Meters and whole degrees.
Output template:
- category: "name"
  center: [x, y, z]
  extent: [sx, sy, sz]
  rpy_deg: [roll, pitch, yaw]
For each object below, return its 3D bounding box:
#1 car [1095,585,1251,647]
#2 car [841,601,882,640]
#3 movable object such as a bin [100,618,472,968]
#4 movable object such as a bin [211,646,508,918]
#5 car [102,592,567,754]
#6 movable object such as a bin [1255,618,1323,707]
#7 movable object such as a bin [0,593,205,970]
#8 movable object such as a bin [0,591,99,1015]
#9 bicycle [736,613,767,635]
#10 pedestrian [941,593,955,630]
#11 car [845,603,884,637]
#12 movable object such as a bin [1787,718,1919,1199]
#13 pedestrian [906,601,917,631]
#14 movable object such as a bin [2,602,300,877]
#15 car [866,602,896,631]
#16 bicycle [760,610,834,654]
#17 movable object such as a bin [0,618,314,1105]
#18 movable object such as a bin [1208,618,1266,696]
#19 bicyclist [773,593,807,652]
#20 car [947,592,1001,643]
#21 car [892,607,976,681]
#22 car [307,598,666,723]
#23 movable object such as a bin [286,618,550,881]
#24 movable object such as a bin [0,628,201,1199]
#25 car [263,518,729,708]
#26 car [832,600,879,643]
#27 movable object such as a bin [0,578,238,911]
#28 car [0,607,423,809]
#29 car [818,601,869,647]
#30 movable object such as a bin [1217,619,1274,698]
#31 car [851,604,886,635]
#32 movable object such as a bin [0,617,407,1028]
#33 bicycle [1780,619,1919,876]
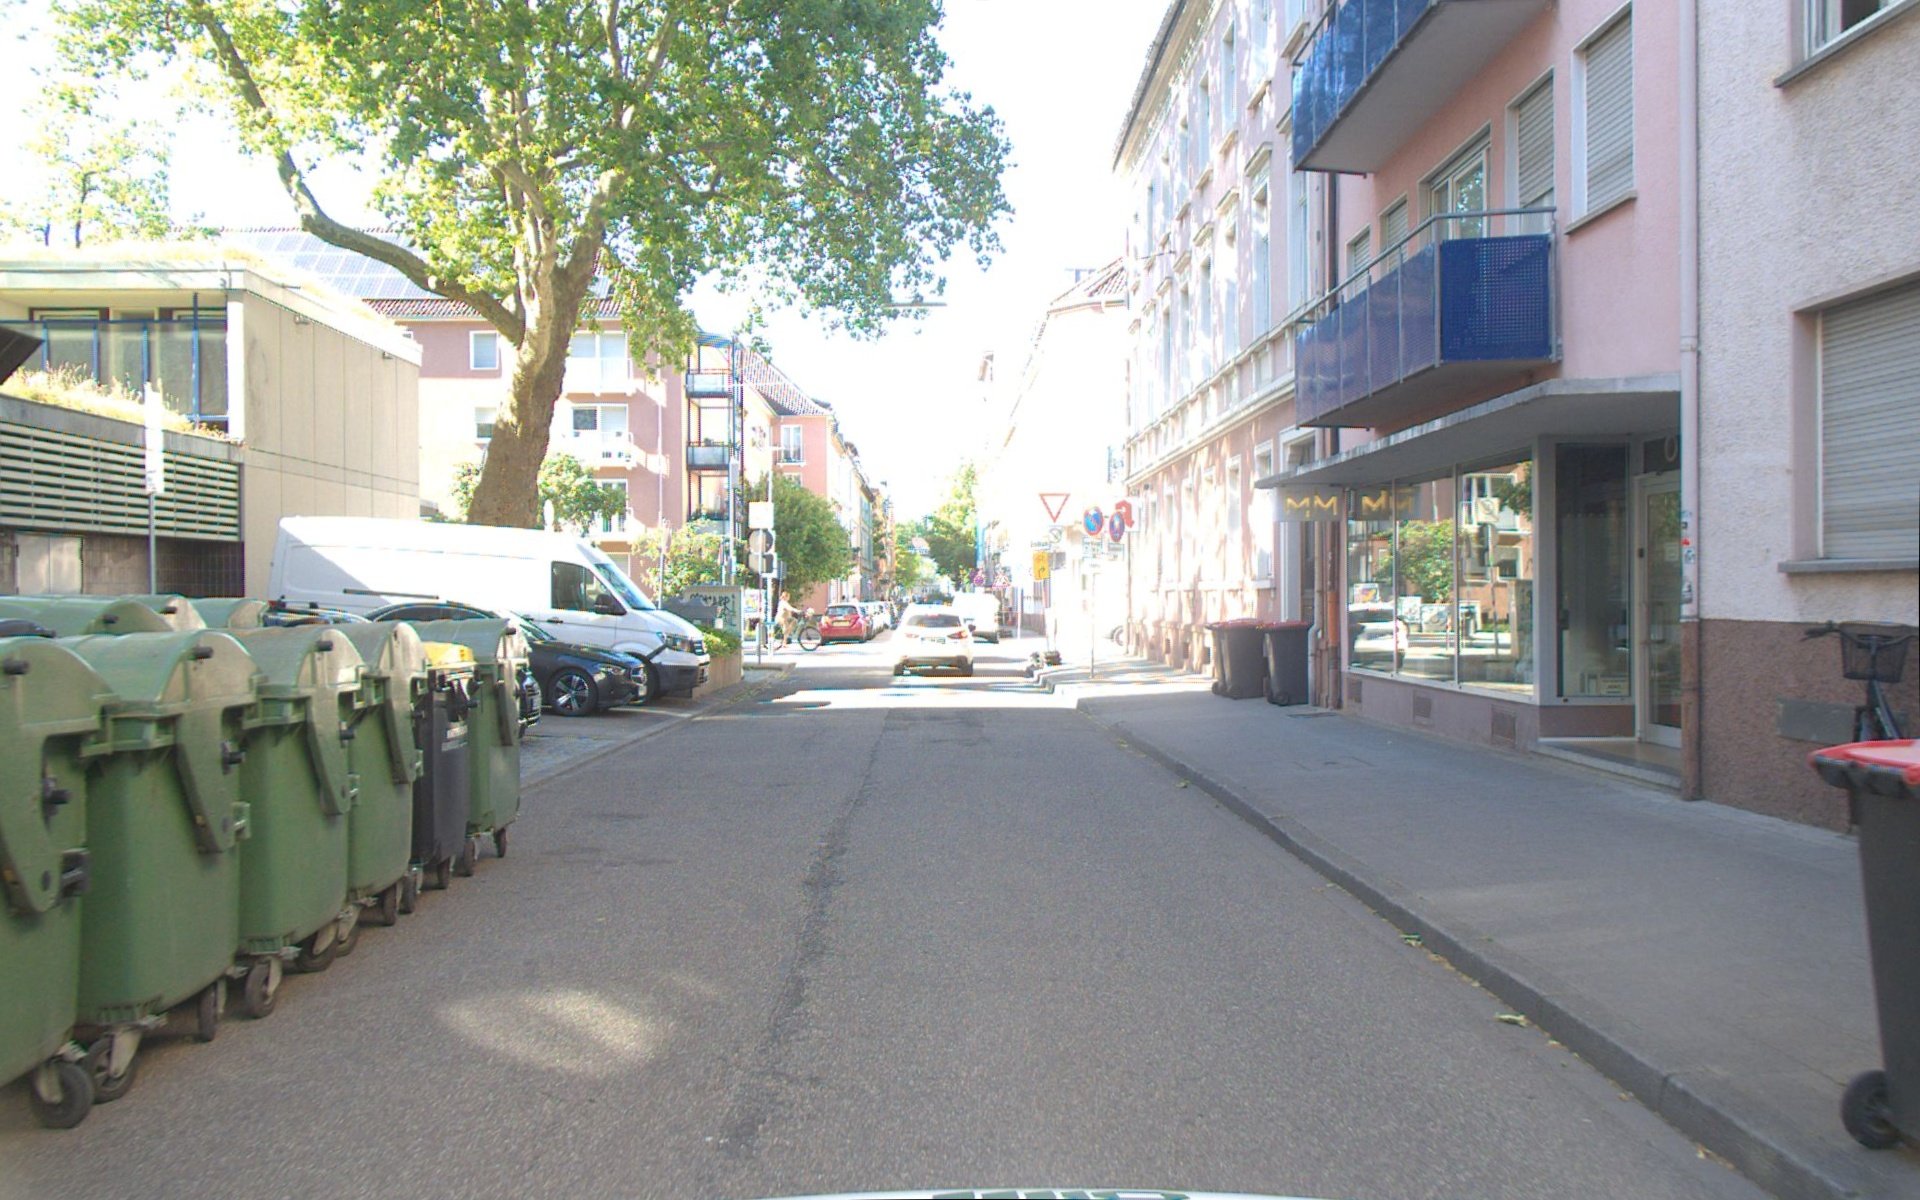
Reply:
- category: "car"
  center: [7.069, 0.563, 54.957]
  extent: [4.791, 1.962, 1.999]
  rpy_deg: [-1, -2, 24]
- category: "car"
  center: [-4.398, 0.915, 73.942]
  extent: [1.602, 1.685, 3.784]
  rpy_deg: [-1, -1, 0]
- category: "movable object such as a bin"
  center: [-3.101, 0.847, 7.763]
  extent: [1.307, 1.517, 1.081]
  rpy_deg: [0, -1, -1]
- category: "movable object such as a bin"
  center: [-3.164, 0.928, 8.852]
  extent: [1.216, 1.345, 1.045]
  rpy_deg: [0, -1, -1]
- category: "car"
  center: [-6.753, 0.784, 18.275]
  extent: [4.377, 1.638, 1.915]
  rpy_deg: [1, -1, -4]
- category: "movable object such as a bin"
  center: [4.308, 0.810, 21.685]
  extent: [0.715, 1.123, 0.692]
  rpy_deg: [-1, -1, -3]
- category: "movable object such as a bin"
  center: [-4.405, 0.796, 7.722]
  extent: [1.262, 1.632, 1.081]
  rpy_deg: [0, -1, -1]
- category: "movable object such as a bin"
  center: [-4.370, 0.795, 6.657]
  extent: [1.268, 1.649, 1.018]
  rpy_deg: [0, -1, -1]
- category: "bicycle"
  center: [-9.318, 1.076, 74.015]
  extent: [0.598, 0.948, 1.892]
  rpy_deg: [0, -1, -34]
- category: "pedestrian"
  center: [-0.703, 0.672, 96.114]
  extent: [0.755, 2.155, 0.834]
  rpy_deg: [-1, -1, 0]
- category: "car"
  center: [-4.628, 0.963, 80.723]
  extent: [1.685, 1.604, 3.725]
  rpy_deg: [-1, -1, 0]
- category: "movable object such as a bin"
  center: [2.625, 0.868, 4.129]
  extent: [0.752, 1.105, 0.693]
  rpy_deg: [-1, -1, 0]
- category: "pedestrian"
  center: [-3.014, 0.973, 102.001]
  extent: [0.634, 1.828, 0.639]
  rpy_deg: [-1, -1, 0]
- category: "movable object such as a bin"
  center: [-4.900, 0.807, 10.138]
  extent: [1.327, 1.577, 1.119]
  rpy_deg: [0, -1, -7]
- category: "car"
  center: [-4.537, 0.955, 95.048]
  extent: [1.540, 1.613, 3.610]
  rpy_deg: [-1, -1, 0]
- category: "bicycle"
  center: [-4.932, 0.954, 50.083]
  extent: [2.119, 1.277, 0.833]
  rpy_deg: [-1, -1, 0]
- category: "movable object such as a bin"
  center: [-3.066, 0.823, 5.660]
  extent: [1.321, 1.513, 1.003]
  rpy_deg: [0, -1, -1]
- category: "movable object such as a bin"
  center: [4.063, 0.827, 24.258]
  extent: [0.730, 1.105, 0.635]
  rpy_deg: [-1, -1, 1]
- category: "bicyclist"
  center: [-5.142, 0.683, 50.082]
  extent: [0.905, 1.750, 0.942]
  rpy_deg: [-1, -1, 0]
- category: "car"
  center: [0.517, 0.679, 66.147]
  extent: [1.904, 1.982, 4.075]
  rpy_deg: [0, 0, -3]
- category: "car"
  center: [-0.616, 0.957, 37.624]
  extent: [1.787, 1.540, 3.822]
  rpy_deg: [-1, 0, -2]
- category: "car"
  center: [-6.545, 0.816, 23.227]
  extent: [4.408, 1.496, 1.929]
  rpy_deg: [2, 0, 0]
- category: "movable object such as a bin"
  center: [-3.213, 0.849, 9.951]
  extent: [1.275, 1.476, 1.116]
  rpy_deg: [0, -1, -5]
- category: "movable object such as a bin"
  center: [-3.041, 0.862, 4.616]
  extent: [1.307, 1.510, 1.093]
  rpy_deg: [-2, -1, -1]
- category: "car"
  center: [-7.144, 0.209, 26.020]
  extent: [6.601, 2.599, 2.146]
  rpy_deg: [2, -1, 1]
- category: "car"
  center: [-4.304, 0.878, 68.430]
  extent: [1.685, 1.712, 3.725]
  rpy_deg: [-1, 0, 0]
- category: "movable object such as a bin"
  center: [-4.745, 0.740, 8.983]
  extent: [1.204, 1.682, 1.172]
  rpy_deg: [0, -1, -7]
- category: "car"
  center: [-6.587, 0.835, 13.533]
  extent: [3.797, 1.531, 1.826]
  rpy_deg: [0, -1, -2]
- category: "car"
  center: [-4.396, 0.903, 62.829]
  extent: [1.734, 1.616, 3.725]
  rpy_deg: [-1, 1, -2]
- category: "movable object such as a bin"
  center: [4.073, 0.827, 23.626]
  extent: [0.687, 1.092, 0.596]
  rpy_deg: [-1, -1, 1]
- category: "car"
  center: [-4.657, 1.014, 84.734]
  extent: [1.569, 1.503, 3.567]
  rpy_deg: [-1, -1, 0]
- category: "movable object such as a bin"
  center: [-3.065, 0.837, 6.696]
  extent: [1.316, 1.525, 1.018]
  rpy_deg: [0, -1, -1]
- category: "bicycle"
  center: [4.629, 0.687, 7.882]
  extent: [0.444, 1.154, 1.920]
  rpy_deg: [-3, -1, 1]
